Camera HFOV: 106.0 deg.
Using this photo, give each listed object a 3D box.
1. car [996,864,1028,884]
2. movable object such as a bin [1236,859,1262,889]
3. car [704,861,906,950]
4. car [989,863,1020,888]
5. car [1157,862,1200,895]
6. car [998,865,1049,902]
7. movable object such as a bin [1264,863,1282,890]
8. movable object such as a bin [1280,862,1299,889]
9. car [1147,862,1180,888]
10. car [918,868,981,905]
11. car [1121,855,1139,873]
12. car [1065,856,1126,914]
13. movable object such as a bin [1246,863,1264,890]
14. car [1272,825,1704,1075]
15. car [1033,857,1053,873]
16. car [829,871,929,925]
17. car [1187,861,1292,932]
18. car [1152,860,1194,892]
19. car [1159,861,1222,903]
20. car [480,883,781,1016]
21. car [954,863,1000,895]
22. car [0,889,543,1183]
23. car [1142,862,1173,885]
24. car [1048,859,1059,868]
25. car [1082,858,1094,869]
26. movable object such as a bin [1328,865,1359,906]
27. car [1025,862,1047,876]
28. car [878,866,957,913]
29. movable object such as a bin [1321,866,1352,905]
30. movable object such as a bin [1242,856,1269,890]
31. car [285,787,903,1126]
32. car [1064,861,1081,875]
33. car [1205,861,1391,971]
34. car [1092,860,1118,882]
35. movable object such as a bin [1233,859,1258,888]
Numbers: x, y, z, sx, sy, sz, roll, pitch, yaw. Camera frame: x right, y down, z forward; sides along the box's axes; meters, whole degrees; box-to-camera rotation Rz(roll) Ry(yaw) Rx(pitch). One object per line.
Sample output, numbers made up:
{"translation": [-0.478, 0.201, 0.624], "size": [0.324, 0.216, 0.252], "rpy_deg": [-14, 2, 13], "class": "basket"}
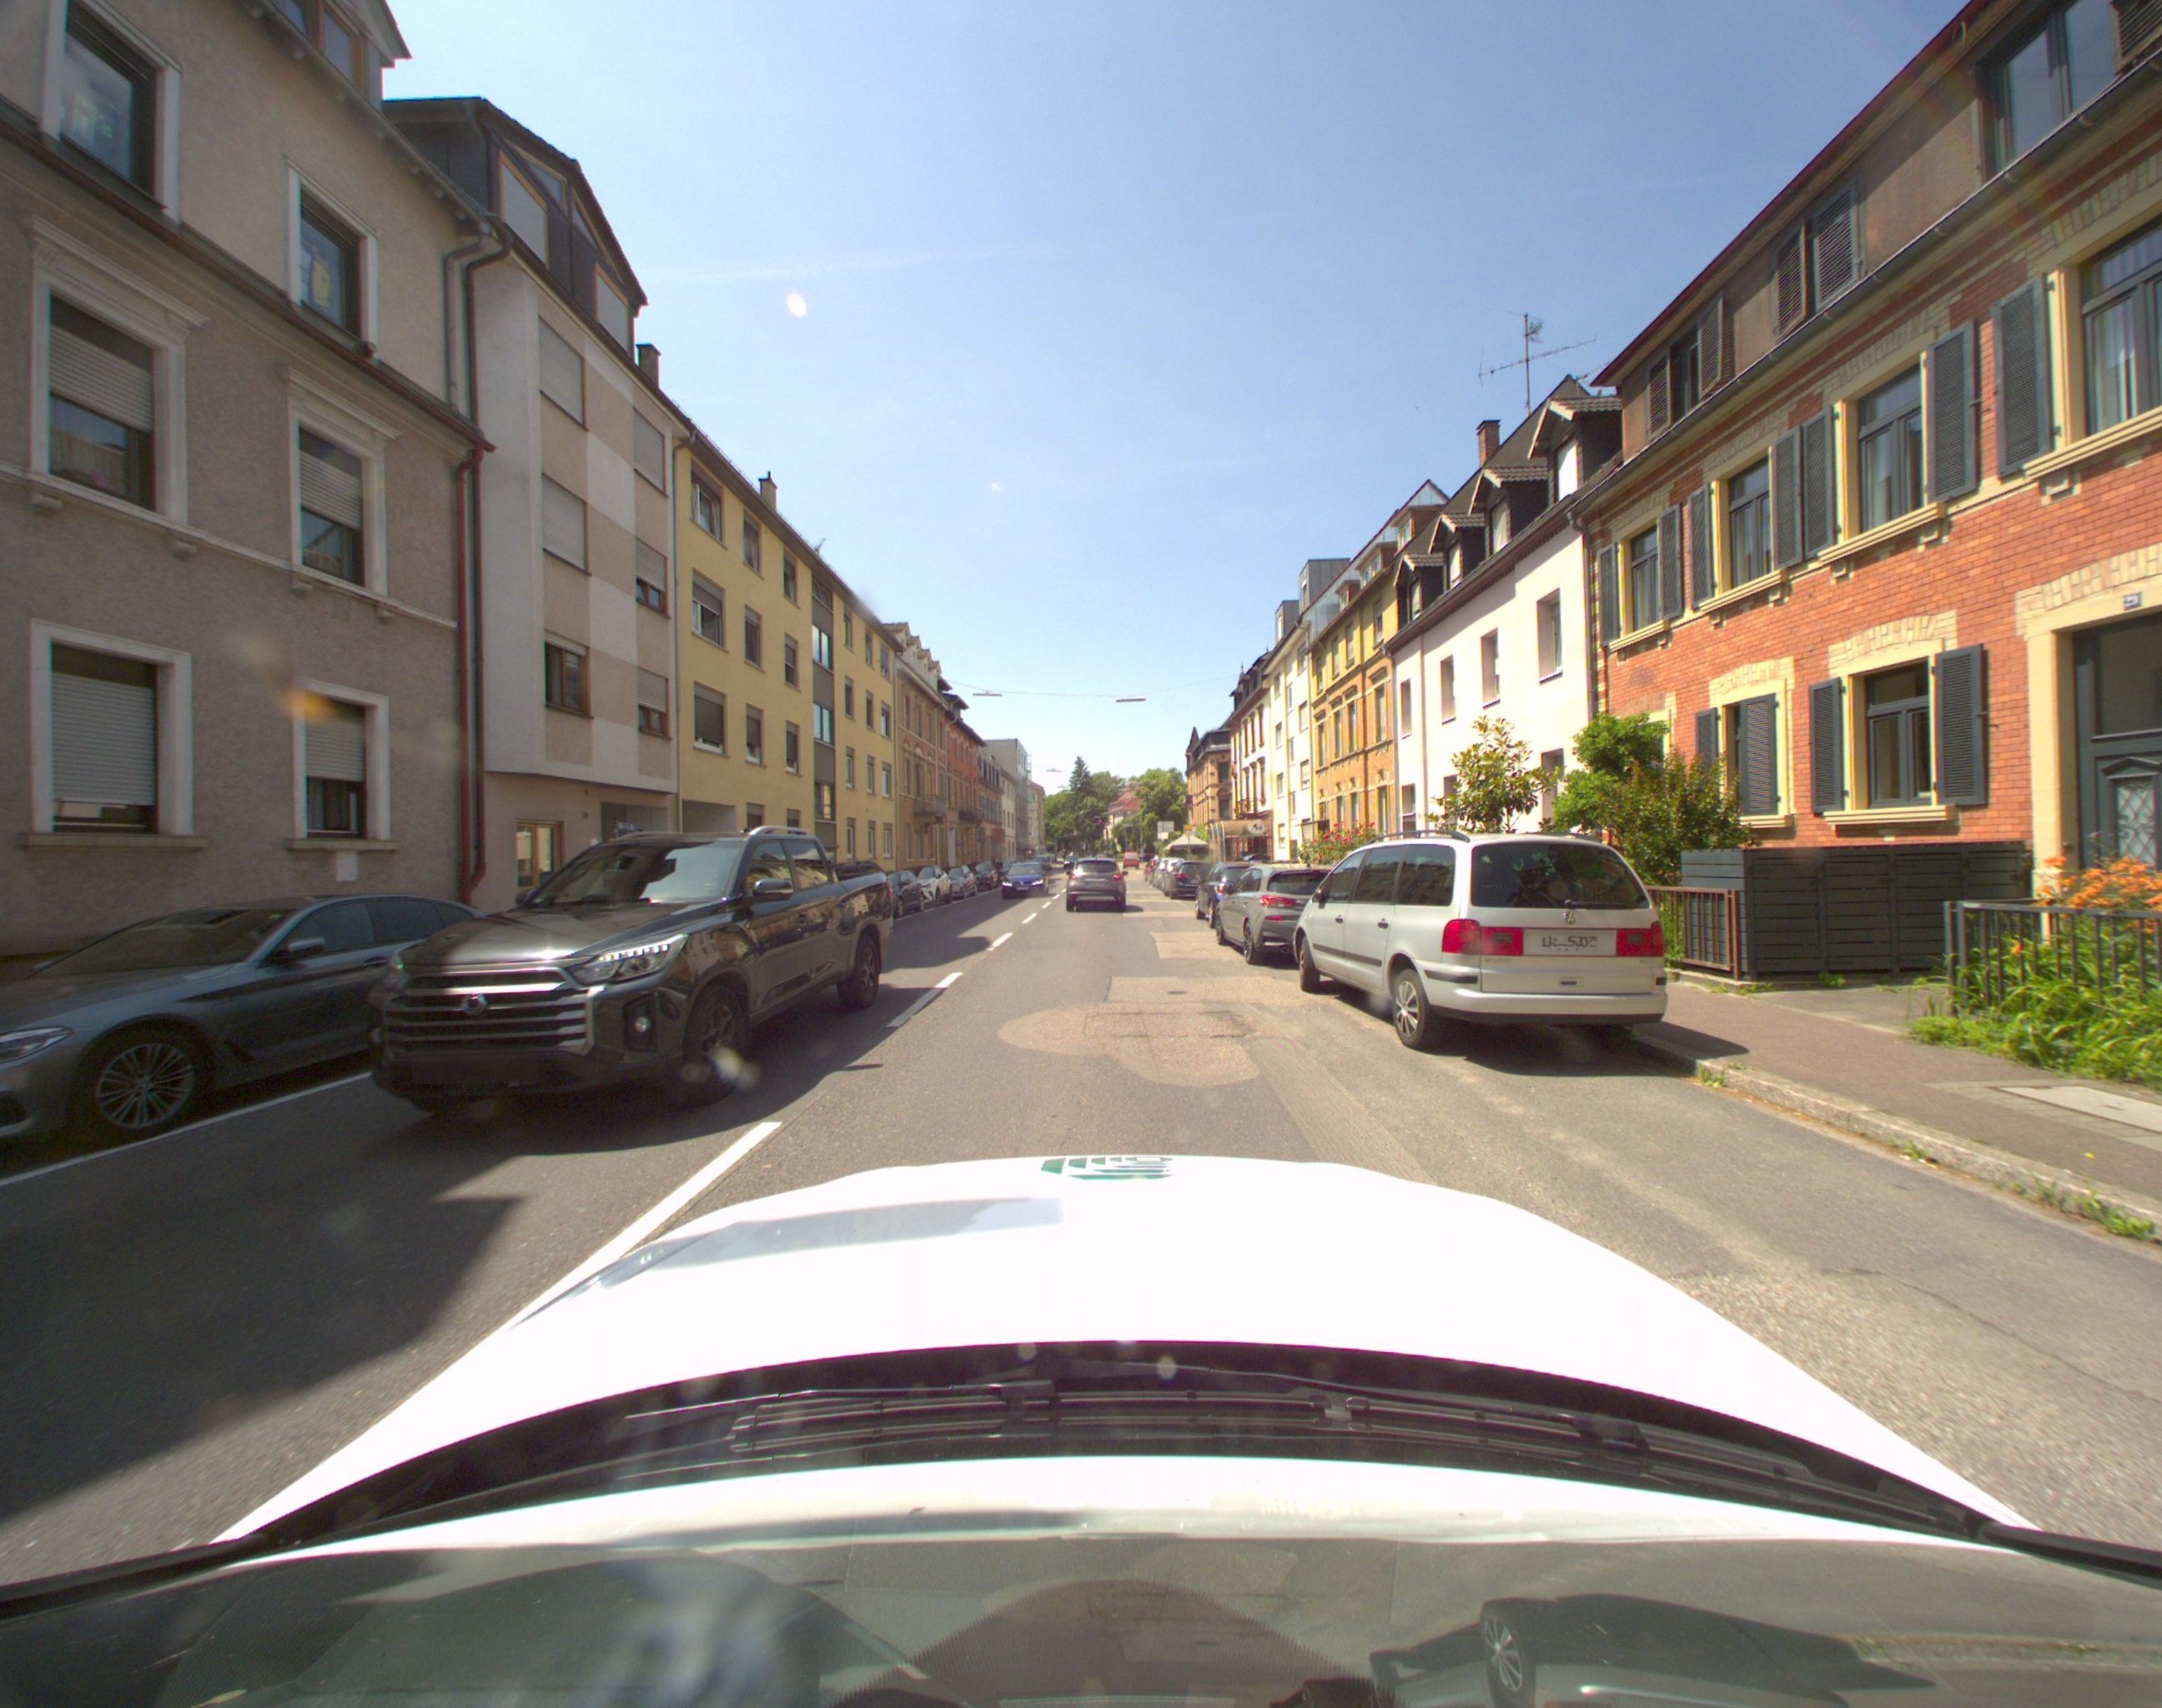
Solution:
{"translation": [-5.241, 1.515, 62.637], "size": [1.897, 1.357, 4.304], "rpy_deg": [-3, -1, 2], "class": "car"}
{"translation": [7.966, 0.937, 38.644], "size": [1.038, 1.402, 1.255], "rpy_deg": [0, -1, 3], "class": "movable object such as a bin"}
{"translation": [-6.033, 1.073, 18.516], "size": [1.889, 1.638, 4.579], "rpy_deg": [-3, -1, 18], "class": "car"}
{"translation": [-5.314, 1.466, 56.966], "size": [1.900, 1.620, 4.297], "rpy_deg": [-3, -1, -3], "class": "car"}
{"translation": [4.511, 1.125, 38.143], "size": [1.653, 1.441, 4.002], "rpy_deg": [0, 0, 2], "class": "car"}
{"translation": [-2.367, 1.202, 34.428], "size": [1.810, 1.388, 3.999], "rpy_deg": [-2, -1, 0], "class": "car"}
{"translation": [8.475, 0.990, 35.907], "size": [0.635, 1.186, 0.853], "rpy_deg": [0, -1, 4], "class": "movable object such as a bin"}
{"translation": [9.186, 0.953, 35.887], "size": [0.665, 1.177, 0.853], "rpy_deg": [0, -1, 4], "class": "movable object such as a bin"}
{"translation": [4.739, 1.184, 47.092], "size": [1.605, 1.461, 3.506], "rpy_deg": [0, -1, 2], "class": "car"}
{"translation": [-5.830, 1.401, 36.585], "size": [1.898, 1.401, 4.755], "rpy_deg": [-3, -1, 1], "class": "car"}
{"translation": [5.679, 1.125, 95.085], "size": [1.986, 2.014, 4.468], "rpy_deg": [-2, 0, 2], "class": "car"}
{"translation": [0.448, 0.887, 25.053], "size": [1.738, 1.616, 4.000], "rpy_deg": [0, -1, 1], "class": "car"}
{"translation": [7.665, 0.979, 35.889], "size": [0.635, 1.177, 0.912], "rpy_deg": [0, -1, 4], "class": "movable object such as a bin"}
{"translation": [3.431, 0.696, 8.051], "size": [1.855, 1.748, 4.614], "rpy_deg": [1, 0, -2], "class": "car"}
{"translation": [-4.531, 1.330, 97.028], "size": [1.897, 1.821, 4.305], "rpy_deg": [-2, -1, 2], "class": "car"}
{"translation": [-6.087, 1.297, 25.066], "size": [1.898, 1.379, 4.062], "rpy_deg": [-3, -1, 2], "class": "car"}
{"translation": [3.671, 0.931, 19.660], "size": [1.690, 1.487, 4.618], "rpy_deg": [1, 0, 1], "class": "car"}
{"translation": [4.706, 1.100, 42.233], "size": [1.853, 1.553, 4.002], "rpy_deg": [1, 0, 2], "class": "car"}
{"translation": [4.123, 1.008, 31.356], "size": [1.854, 1.465, 4.618], "rpy_deg": [1, 0, 1], "class": "car"}
{"translation": [-6.435, 1.261, 12.382], "size": [1.833, 1.422, 4.559], "rpy_deg": [-4, -1, 2], "class": "car"}
{"translation": [-5.757, 1.360, 45.546], "size": [1.898, 1.620, 4.302], "rpy_deg": [-3, -1, 0], "class": "car"}
{"translation": [-6.651, 1.101, 6.349], "size": [1.835, 1.422, 4.643], "rpy_deg": [-3, -1, -1], "class": "car"}
{"translation": [4.955, 1.217, 52.799], "size": [1.607, 1.443, 3.434], "rpy_deg": [0, -1, -2], "class": "car"}
{"translation": [-5.399, 1.866, 158.357], "size": [1.783, 1.626, 3.746], "rpy_deg": [-1, 0, 3], "class": "car"}
{"translation": [1.099, 1.493, 131.563], "size": [1.786, 1.626, 3.740], "rpy_deg": [-1, 0, -2], "class": "car"}
{"translation": [7.128, 0.852, 22.156], "size": [0.649, 1.083, 0.684], "rpy_deg": [-1, -1, 4], "class": "movable object such as a bin"}
{"translation": [-4.578, 1.519, 83.403], "size": [1.897, 1.291, 4.305], "rpy_deg": [-2, -1, 2], "class": "car"}
{"translation": [-5.952, 1.254, 30.186], "size": [1.898, 1.510, 4.303], "rpy_deg": [-3, -1, 1], "class": "car"}
{"translation": [7.197, 0.882, 22.967], "size": [0.649, 1.083, 0.684], "rpy_deg": [-1, -1, 4], "class": "movable object such as a bin"}
{"translation": [7.966, 0.867, 37.272], "size": [1.038, 1.518, 1.448], "rpy_deg": [0, -1, 3], "class": "movable object such as a bin"}
{"translation": [-3.244, 0.585, 7.027], "size": [1.985, 1.792, 5.152], "rpy_deg": [-2, -1, 3], "class": "car"}
{"translation": [-0.964, 1.668, 97.345], "size": [1.933, 1.626, 3.999], "rpy_deg": [0, 0, 0], "class": "car"}
{"translation": [3.296, 0.868, 13.284], "size": [1.855, 1.487, 4.308], "rpy_deg": [1, 0, -1], "class": "car"}
{"translation": [1.860, 1.339, 64.084], "size": [1.807, 1.620, 4.439], "rpy_deg": [-3, -1, -1], "class": "car"}
{"translation": [8.041, 0.957, 39.900], "size": [1.038, 1.402, 1.255], "rpy_deg": [0, -1, 3], "class": "movable object such as a bin"}
